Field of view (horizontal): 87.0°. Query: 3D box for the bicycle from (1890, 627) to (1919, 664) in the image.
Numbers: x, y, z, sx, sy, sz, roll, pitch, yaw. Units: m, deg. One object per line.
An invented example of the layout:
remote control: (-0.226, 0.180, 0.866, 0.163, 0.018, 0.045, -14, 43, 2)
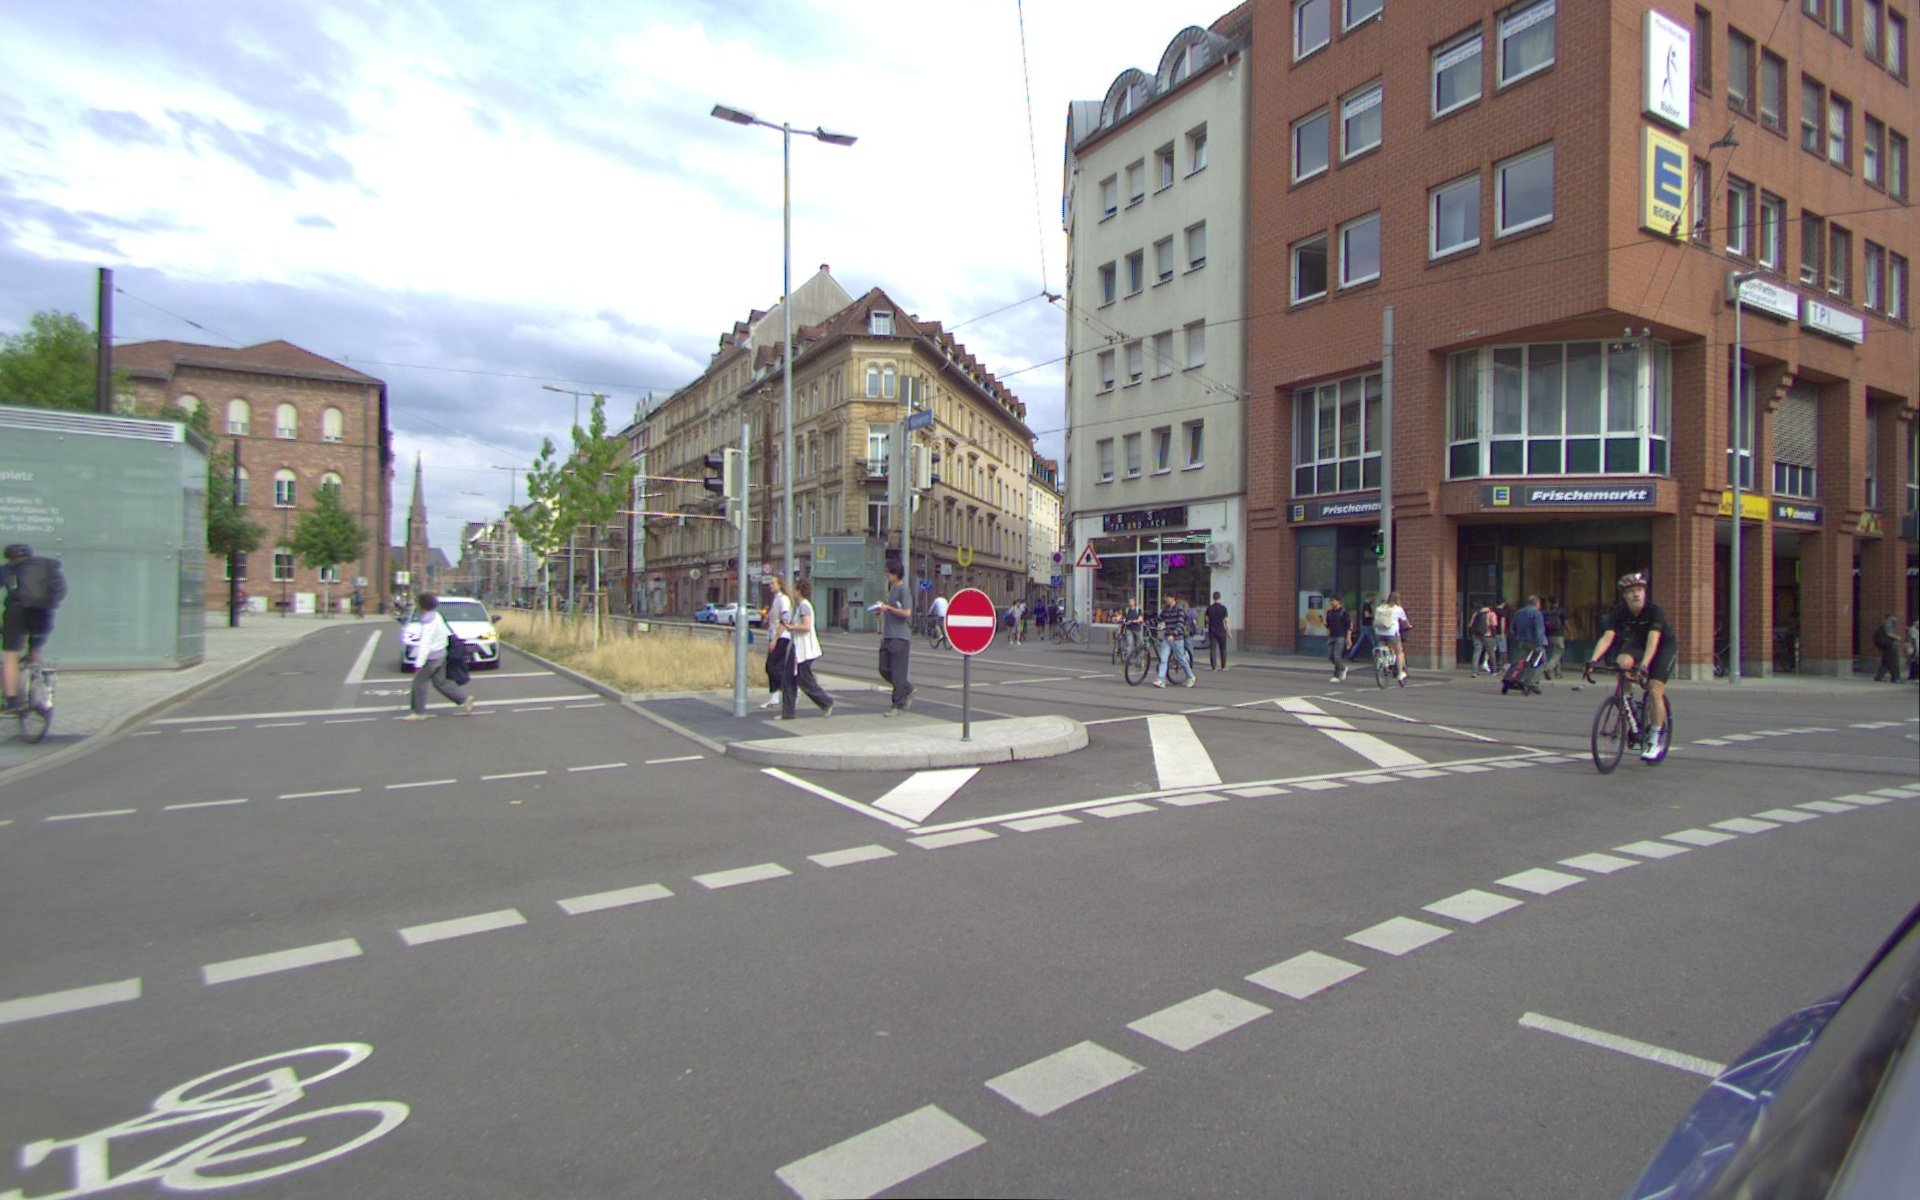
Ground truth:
bicycle: (30.548, 1.455, 31.870, 1.835, 1.097, 0.483, 2, 1, 11)

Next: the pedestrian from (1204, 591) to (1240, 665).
pedestrian: (6.013, 0.636, 23.250, 0.695, 1.669, 0.719, 1, -1, 8)

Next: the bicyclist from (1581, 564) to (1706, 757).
bicyclist: (6.081, 0.510, 9.009, 0.830, 1.624, 0.614, 1, 0, -30)

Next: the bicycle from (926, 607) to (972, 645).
bicycle: (-0.343, 0.788, 31.413, 0.384, 1.101, 1.919, 1, 0, -35)

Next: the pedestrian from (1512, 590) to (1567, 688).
pedestrian: (10.433, 0.690, 18.234, 0.588, 1.709, 0.641, 2, -1, -29)

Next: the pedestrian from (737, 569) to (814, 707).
pedestrian: (-2.371, 0.472, 13.026, 0.633, 1.717, 0.696, 0, -1, 41)

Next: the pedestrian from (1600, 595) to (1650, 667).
pedestrian: (15.421, 0.710, 23.454, 0.903, 1.621, 0.621, 1, -1, -29)

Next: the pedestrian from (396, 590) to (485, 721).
pedestrian: (-6.339, 0.649, 12.365, 0.551, 1.520, 0.834, 0, 1, 45)

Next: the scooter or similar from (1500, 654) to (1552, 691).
scooter or similar: (9.966, 1.266, 17.822, 0.800, 0.581, 0.508, 1, 0, -37)

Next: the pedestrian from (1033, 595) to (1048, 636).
pedestrian: (3.499, 0.665, 44.142, 0.530, 1.744, 0.521, 1, -1, -9)

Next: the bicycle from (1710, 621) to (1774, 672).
bicycle: (18.363, 1.084, 23.769, 1.664, 1.105, 0.568, 0, 2, -30)

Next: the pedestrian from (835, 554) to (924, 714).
pedestrian: (-0.984, 0.406, 12.328, 0.859, 1.878, 0.641, 2, -1, -29)

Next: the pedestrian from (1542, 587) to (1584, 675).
pedestrian: (12.719, 0.638, 21.336, 0.550, 1.820, 0.543, 2, -1, -29)

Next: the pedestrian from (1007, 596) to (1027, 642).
pedestrian: (2.076, 0.680, 37.079, 0.704, 1.648, 0.792, 1, -1, 3)

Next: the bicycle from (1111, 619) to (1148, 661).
bicycle: (4.236, 0.979, 25.208, 0.536, 0.962, 1.794, 1, 0, 21)

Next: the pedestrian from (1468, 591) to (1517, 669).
pedestrian: (11.572, 0.646, 22.000, 0.875, 1.672, 0.543, 2, -1, -29)

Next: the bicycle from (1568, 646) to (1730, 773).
bicycle: (6.174, 0.935, 9.042, 1.712, 1.013, 0.489, 1, 0, -30)

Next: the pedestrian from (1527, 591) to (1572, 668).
pedestrian: (13.309, 0.643, 22.853, 0.637, 1.710, 0.650, 0, 0, -29)

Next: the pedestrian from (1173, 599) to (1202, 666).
pedestrian: (5.279, 0.746, 23.483, 0.583, 1.530, 0.628, 1, -1, 8)

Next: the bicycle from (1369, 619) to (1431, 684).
bicycle: (8.213, 0.955, 18.855, 0.390, 1.136, 2.043, 0, -2, 43)

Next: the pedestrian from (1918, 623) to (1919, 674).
pedestrian: (24.714, 1.058, 25.584, 0.716, 1.652, 0.408, 1, 1, -21)

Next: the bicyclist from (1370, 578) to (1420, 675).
bicyclist: (8.029, 0.479, 18.667, 0.639, 1.731, 0.850, 0, -1, 39)

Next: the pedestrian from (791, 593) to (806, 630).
pedestrian: (-7.686, 0.543, 48.165, 0.593, 1.706, 0.734, -2, 0, -6)

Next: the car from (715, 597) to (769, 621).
car: (-12.533, 0.498, 58.030, 1.800, 1.282, 4.158, 1, 0, -30)

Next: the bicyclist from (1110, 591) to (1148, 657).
bicyclist: (4.196, 0.590, 25.097, 0.737, 1.578, 0.939, 1, -1, 22)

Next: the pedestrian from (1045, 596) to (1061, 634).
pedestrian: (4.084, 0.671, 44.350, 0.571, 1.657, 0.545, 1, -1, -9)

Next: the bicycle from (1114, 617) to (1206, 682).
bicycle: (3.629, 0.875, 18.289, 1.793, 1.124, 0.398, 1, -1, -29)

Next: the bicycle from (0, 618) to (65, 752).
bicycle: (-9.802, 0.828, 10.461, 1.909, 1.135, 0.386, 5, 2, 36)

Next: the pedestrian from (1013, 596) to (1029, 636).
pedestrian: (2.664, 0.681, 44.148, 0.579, 1.744, 0.521, 1, -1, -9)

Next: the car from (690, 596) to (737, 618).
car: (-15.504, 0.448, 63.566, 1.800, 1.282, 4.158, 1, 0, -30)

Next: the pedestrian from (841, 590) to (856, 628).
pedestrian: (-5.167, 0.416, 46.847, 0.504, 1.706, 0.425, 2, -1, -28)

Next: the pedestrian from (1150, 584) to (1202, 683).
pedestrian: (3.811, 0.577, 17.847, 0.711, 1.707, 0.522, 1, -1, -29)

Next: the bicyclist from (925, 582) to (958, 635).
bicyclist: (-0.577, 0.258, 31.546, 0.630, 1.623, 0.862, 1, -1, -36)

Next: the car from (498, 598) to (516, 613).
car: (-62.218, 0.754, 139.020, 1.919, 1.928, 4.003, 1, -2, -29)

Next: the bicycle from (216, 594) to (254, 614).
bicycle: (-46.169, 0.260, 64.475, 1.934, 1.180, 0.422, 1, -1, -30)

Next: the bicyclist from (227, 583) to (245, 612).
bicyclist: (-46.146, -0.138, 64.495, 0.843, 1.845, 0.504, 1, -1, -29)

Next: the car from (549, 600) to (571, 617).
car: (-47.341, 1.022, 119.763, 1.960, 1.928, 4.003, 1, -2, -29)

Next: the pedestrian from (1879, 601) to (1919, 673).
pedestrian: (22.986, 0.892, 24.688, 0.684, 1.717, 0.648, 1, 1, -32)

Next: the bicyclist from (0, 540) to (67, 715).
bicyclist: (-9.750, 0.267, 10.404, 0.903, 1.731, 0.689, 0, -1, 39)

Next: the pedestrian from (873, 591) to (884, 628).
pedestrian: (-3.809, 0.459, 47.559, 0.417, 1.706, 0.514, 1, -1, 4)

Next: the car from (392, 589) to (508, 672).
car: (-10.779, 0.542, 21.310, 1.960, 1.531, 4.609, 0, 1, -28)

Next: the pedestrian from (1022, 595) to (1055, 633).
pedestrian: (3.878, 0.685, 49.795, 1.111, 1.852, 1.164, 1, -1, -38)

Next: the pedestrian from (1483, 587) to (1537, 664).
pedestrian: (12.627, 0.566, 23.231, 1.035, 1.736, 0.649, 1, 0, -29)

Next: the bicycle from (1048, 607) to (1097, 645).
bicycle: (3.854, 0.876, 34.723, 0.533, 1.219, 1.805, 2, -1, -38)

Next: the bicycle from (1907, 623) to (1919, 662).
bicycle: (28.387, 1.238, 28.908, 1.835, 1.097, 0.628, 2, 1, 11)

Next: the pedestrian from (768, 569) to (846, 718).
pedestrian: (-1.811, 0.497, 11.990, 0.781, 1.707, 0.470, 1, -1, -34)

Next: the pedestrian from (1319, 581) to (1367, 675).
pedestrian: (7.690, 0.563, 20.345, 0.681, 1.847, 0.570, 2, -1, -30)
